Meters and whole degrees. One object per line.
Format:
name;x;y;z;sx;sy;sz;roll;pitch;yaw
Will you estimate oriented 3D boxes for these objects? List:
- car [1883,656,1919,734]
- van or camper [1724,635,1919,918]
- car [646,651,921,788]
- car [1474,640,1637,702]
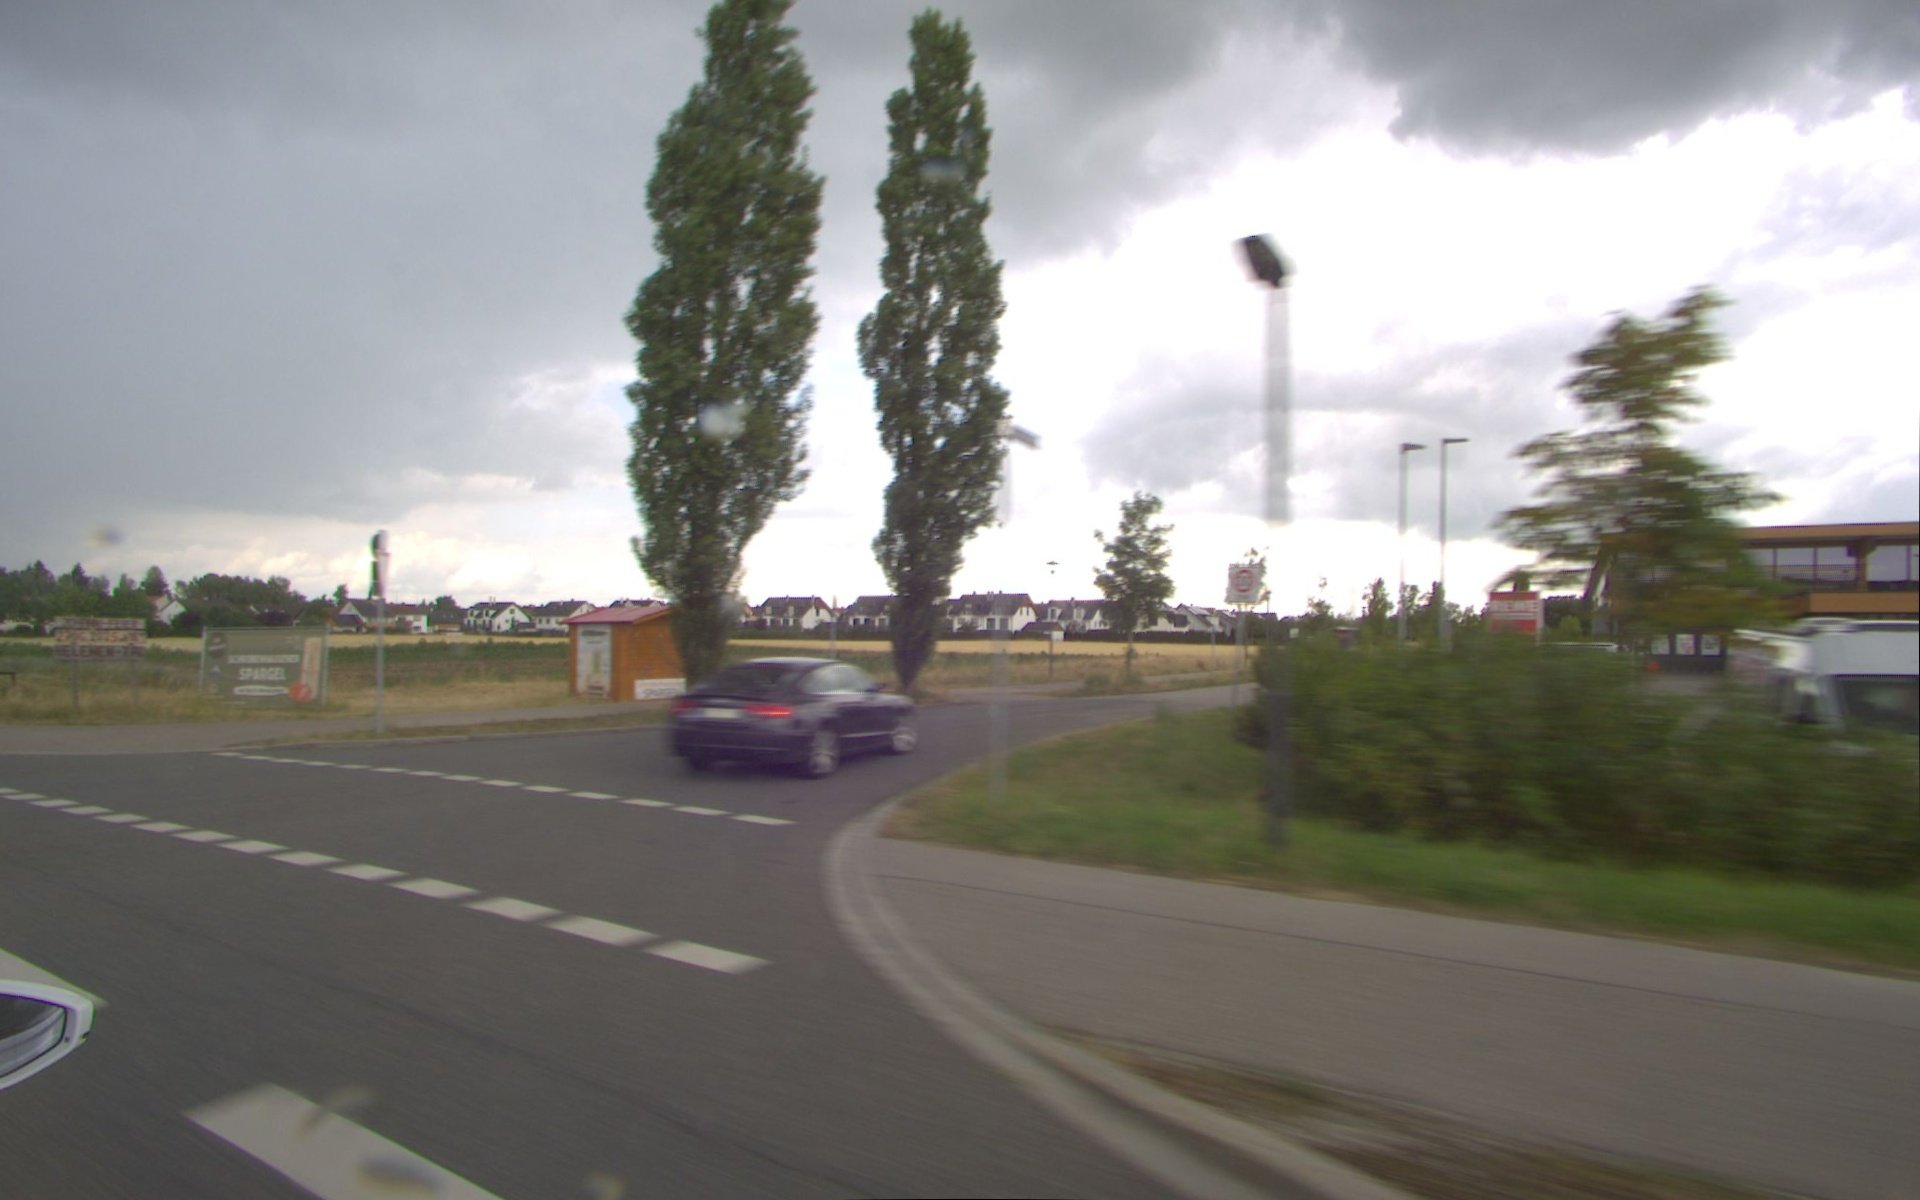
car;25.424;2.464;24.280;2.070;1.931;4.940;0;0;9
van or camper;11.130;1.765;12.018;2.247;2.497;6.458;0;0;30
car;-2.064;1.409;13.167;1.798;1.406;4.383;0;-2;16
car;22.270;2.589;37.585;5.160;2.040;1.989;0;0;34
